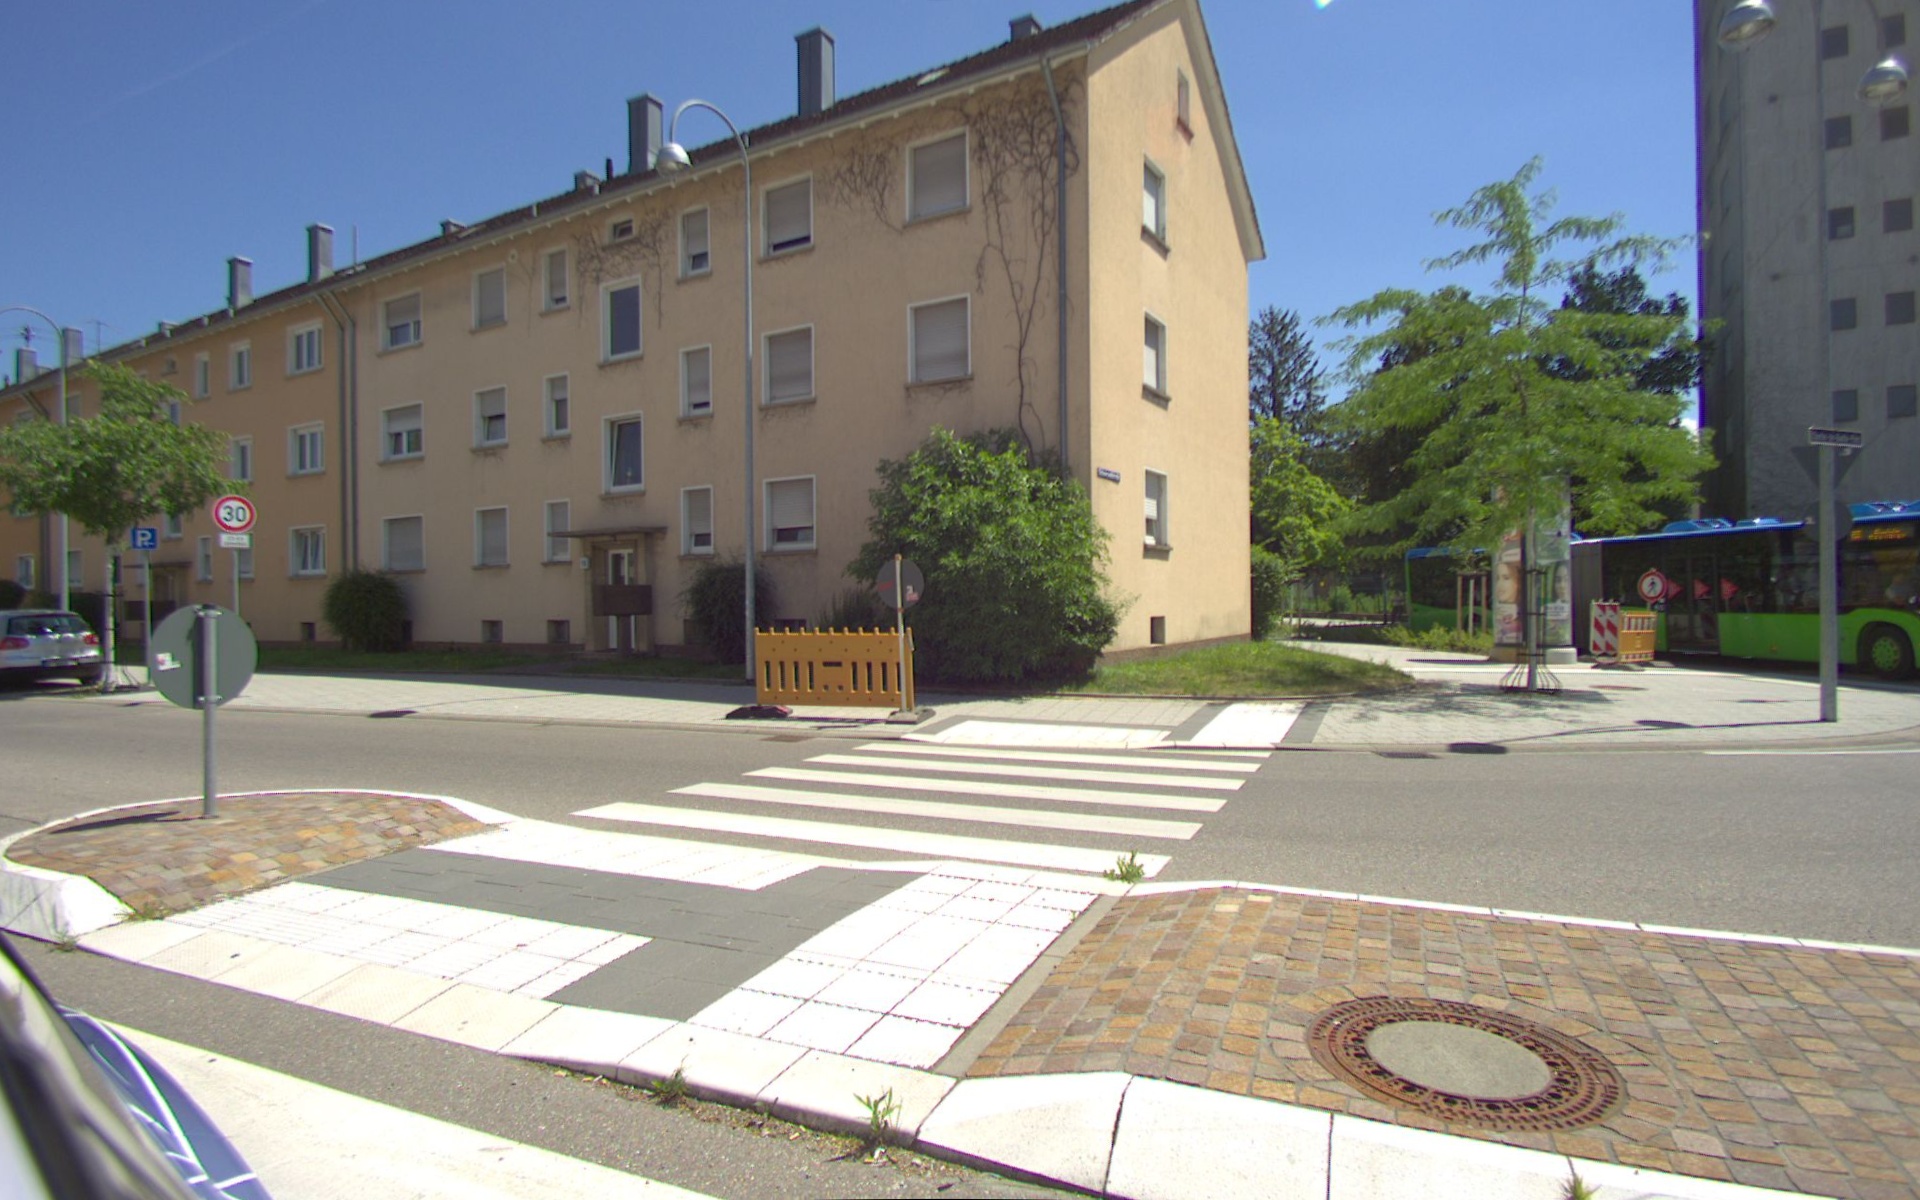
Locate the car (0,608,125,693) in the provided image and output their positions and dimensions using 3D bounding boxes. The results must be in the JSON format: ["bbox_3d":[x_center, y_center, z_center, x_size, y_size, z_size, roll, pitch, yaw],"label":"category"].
[{"bbox_3d":[-18.184,0.911,19.335,4.067,1.431,1.982,-1,1,27],"label":"car"}]

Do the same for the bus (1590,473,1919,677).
[{"bbox_3d":[17.024,-0.452,19.327,2.920,3.349,10.093,-3,0,-4],"label":"bus"}]

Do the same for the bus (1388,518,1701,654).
[{"bbox_3d":[16.026,-0.357,28.899,2.786,3.133,8.937,-3,0,-7],"label":"bus"}]
